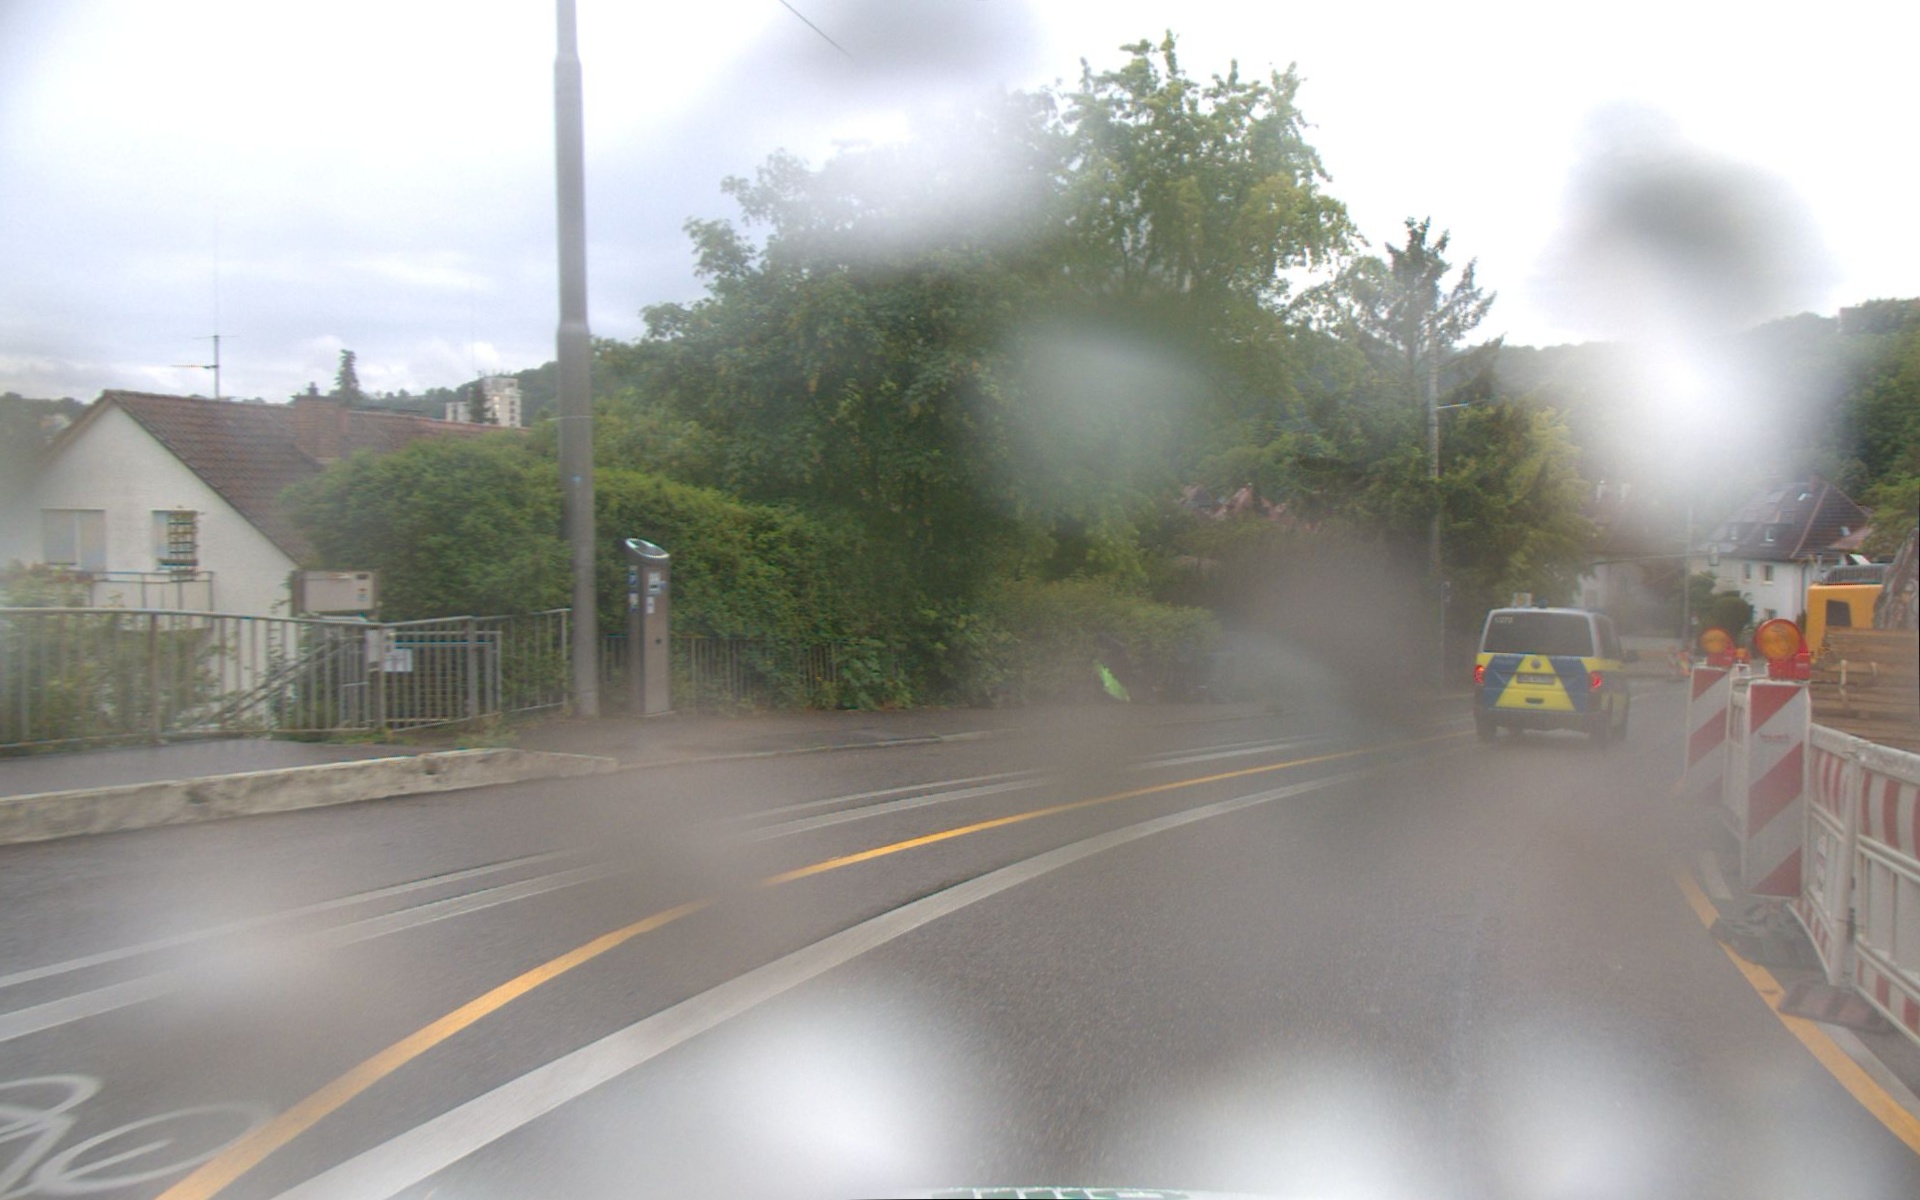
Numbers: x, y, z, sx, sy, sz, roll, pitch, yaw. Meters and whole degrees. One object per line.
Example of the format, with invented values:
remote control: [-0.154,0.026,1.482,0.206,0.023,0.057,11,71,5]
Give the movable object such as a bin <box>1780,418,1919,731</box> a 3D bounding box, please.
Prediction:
movable object such as a bin: [17.054,-0.430,24.730,3.000,5.005,10.798,3,-3,-8]

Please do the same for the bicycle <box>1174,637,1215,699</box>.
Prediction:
bicycle: [4.440,1.291,31.229,0.331,1.127,1.254,1,-2,27]

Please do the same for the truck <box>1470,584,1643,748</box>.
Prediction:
truck: [9.174,0.885,25.179,1.954,2.048,4.731,0,3,26]

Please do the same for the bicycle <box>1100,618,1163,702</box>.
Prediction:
bicycle: [2.947,1.030,28.303,0.412,1.373,1.740,1,-2,27]

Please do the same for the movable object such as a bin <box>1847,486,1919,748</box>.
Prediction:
movable object such as a bin: [13.525,0.341,22.788,1.953,3.363,3.833,1,-3,24]
